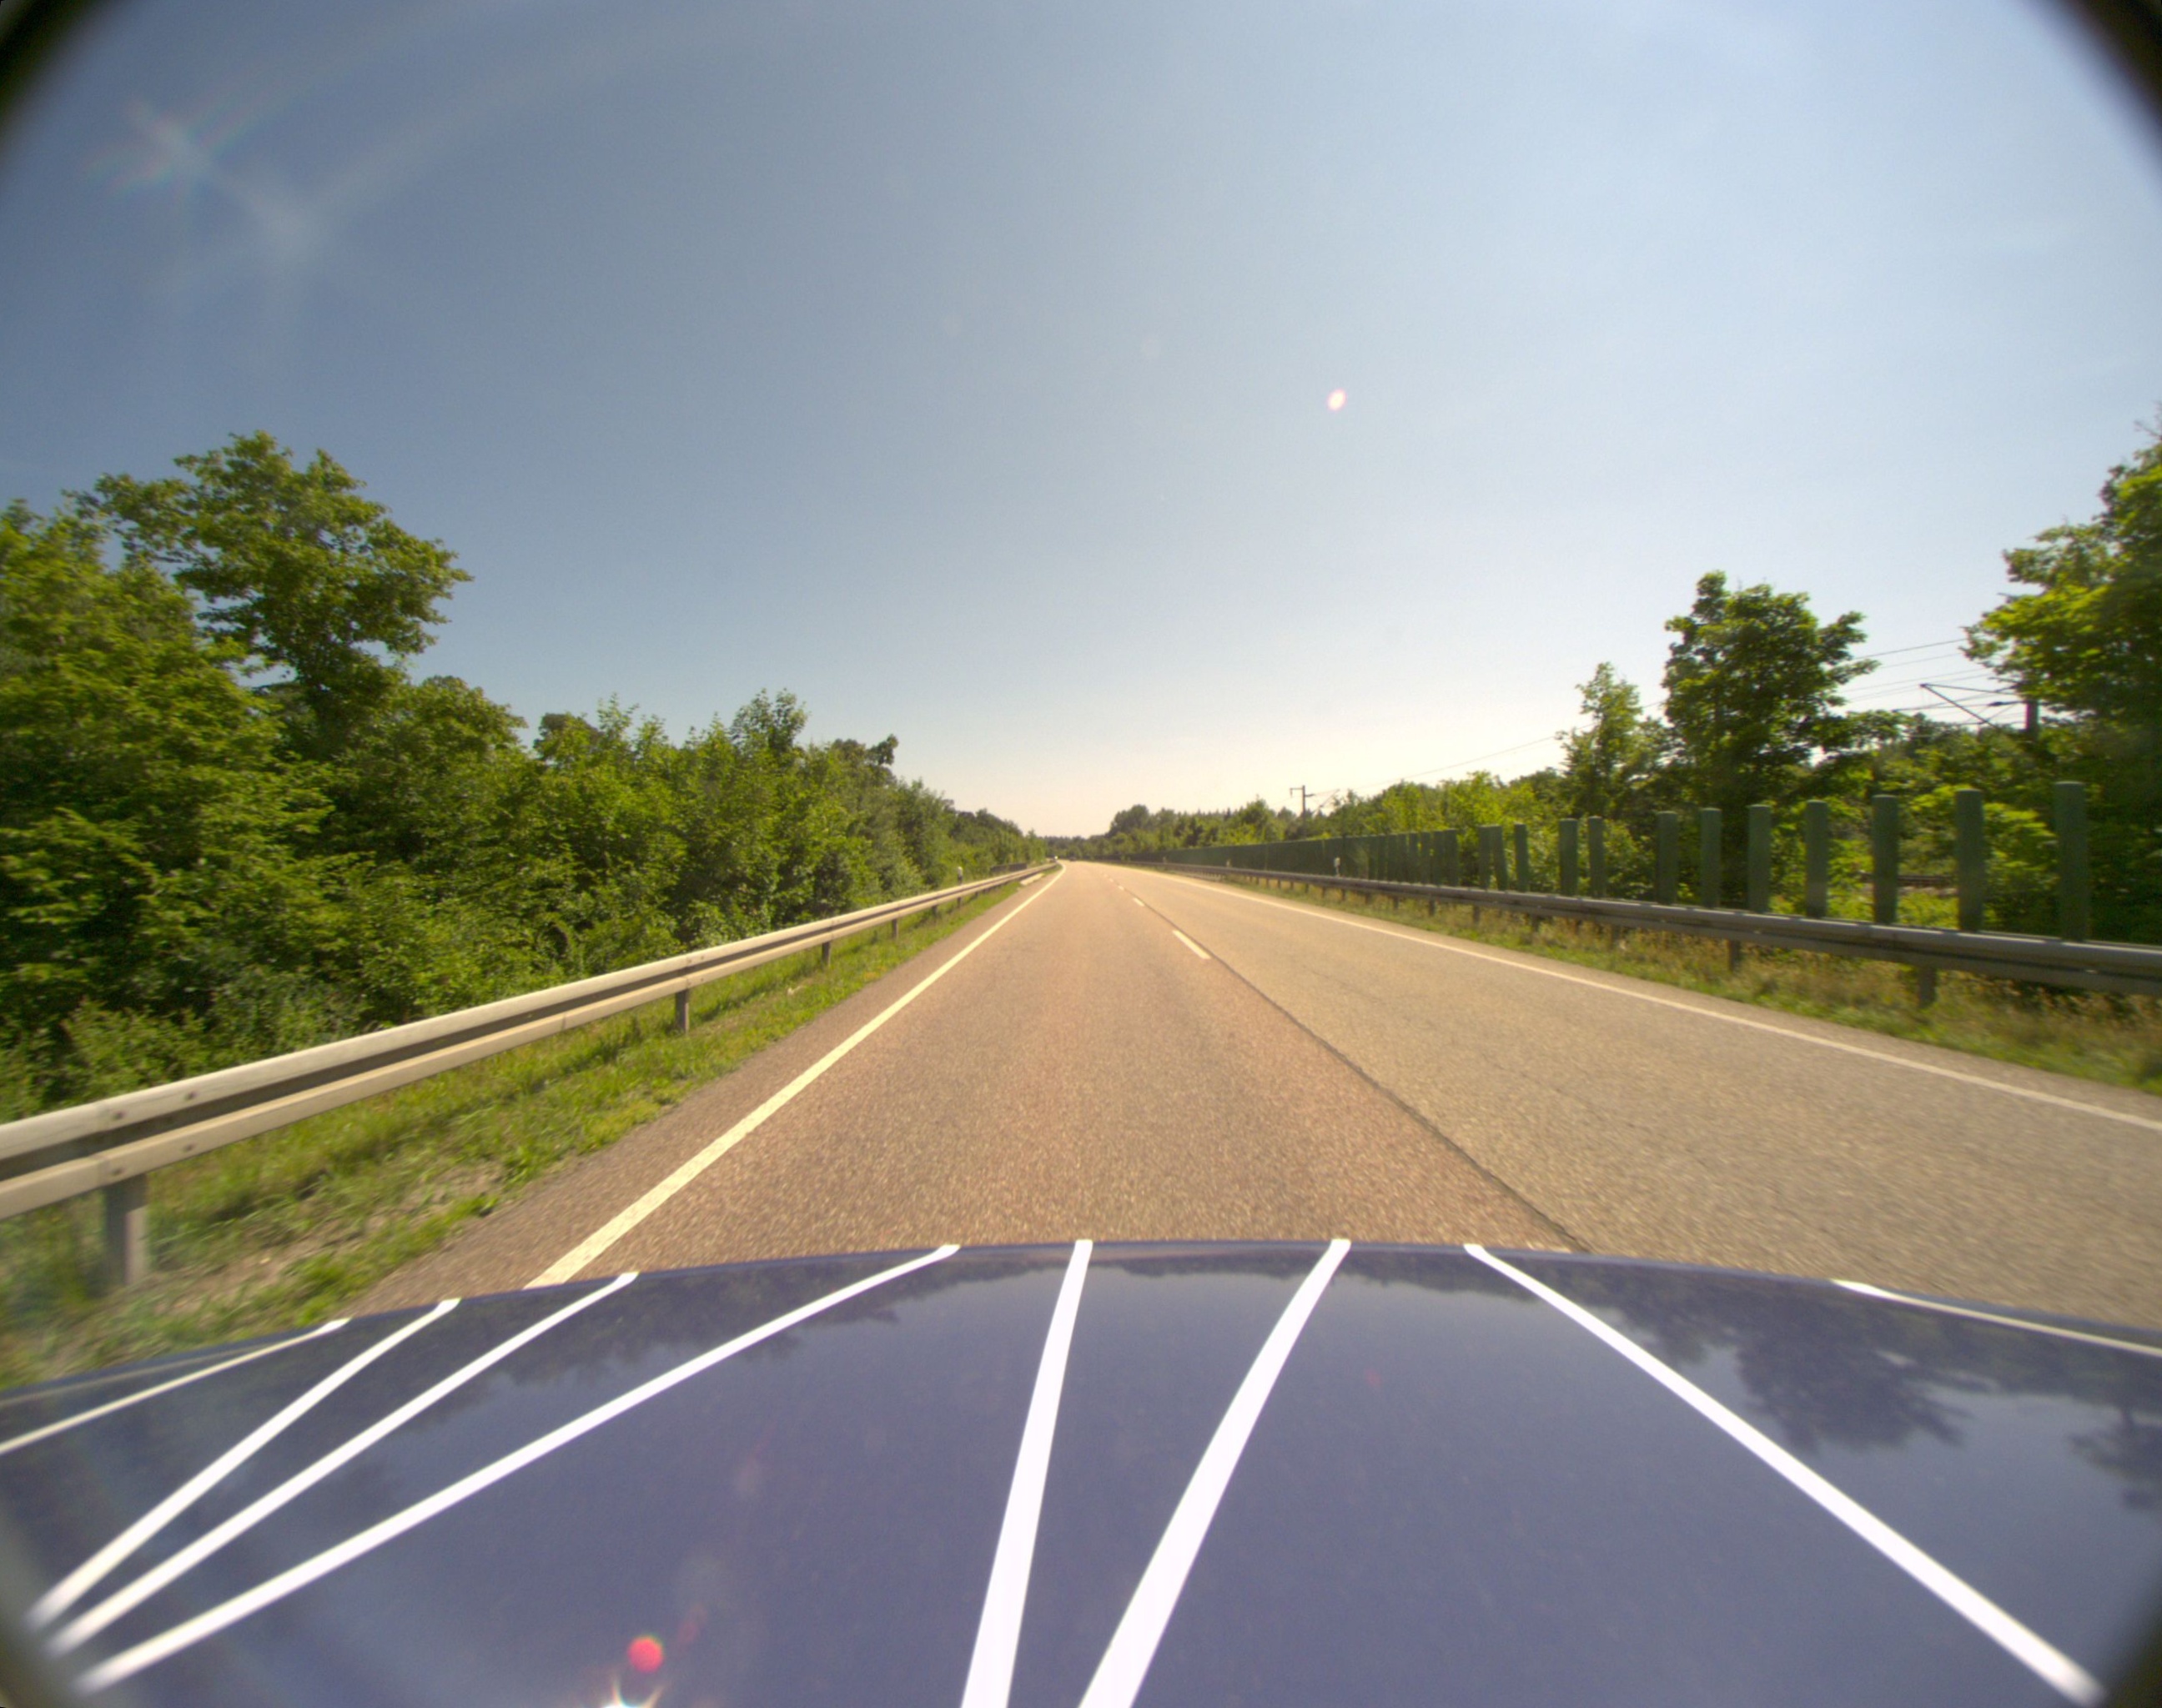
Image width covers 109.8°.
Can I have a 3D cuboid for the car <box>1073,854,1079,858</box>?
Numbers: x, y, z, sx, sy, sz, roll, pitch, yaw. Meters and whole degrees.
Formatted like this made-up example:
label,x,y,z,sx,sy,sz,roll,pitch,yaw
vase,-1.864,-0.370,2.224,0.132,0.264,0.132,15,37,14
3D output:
label,x,y,z,sx,sy,sz,roll,pitch,yaw
car,-1.540,0.677,242.769,1.791,1.364,3.896,-2,1,1
